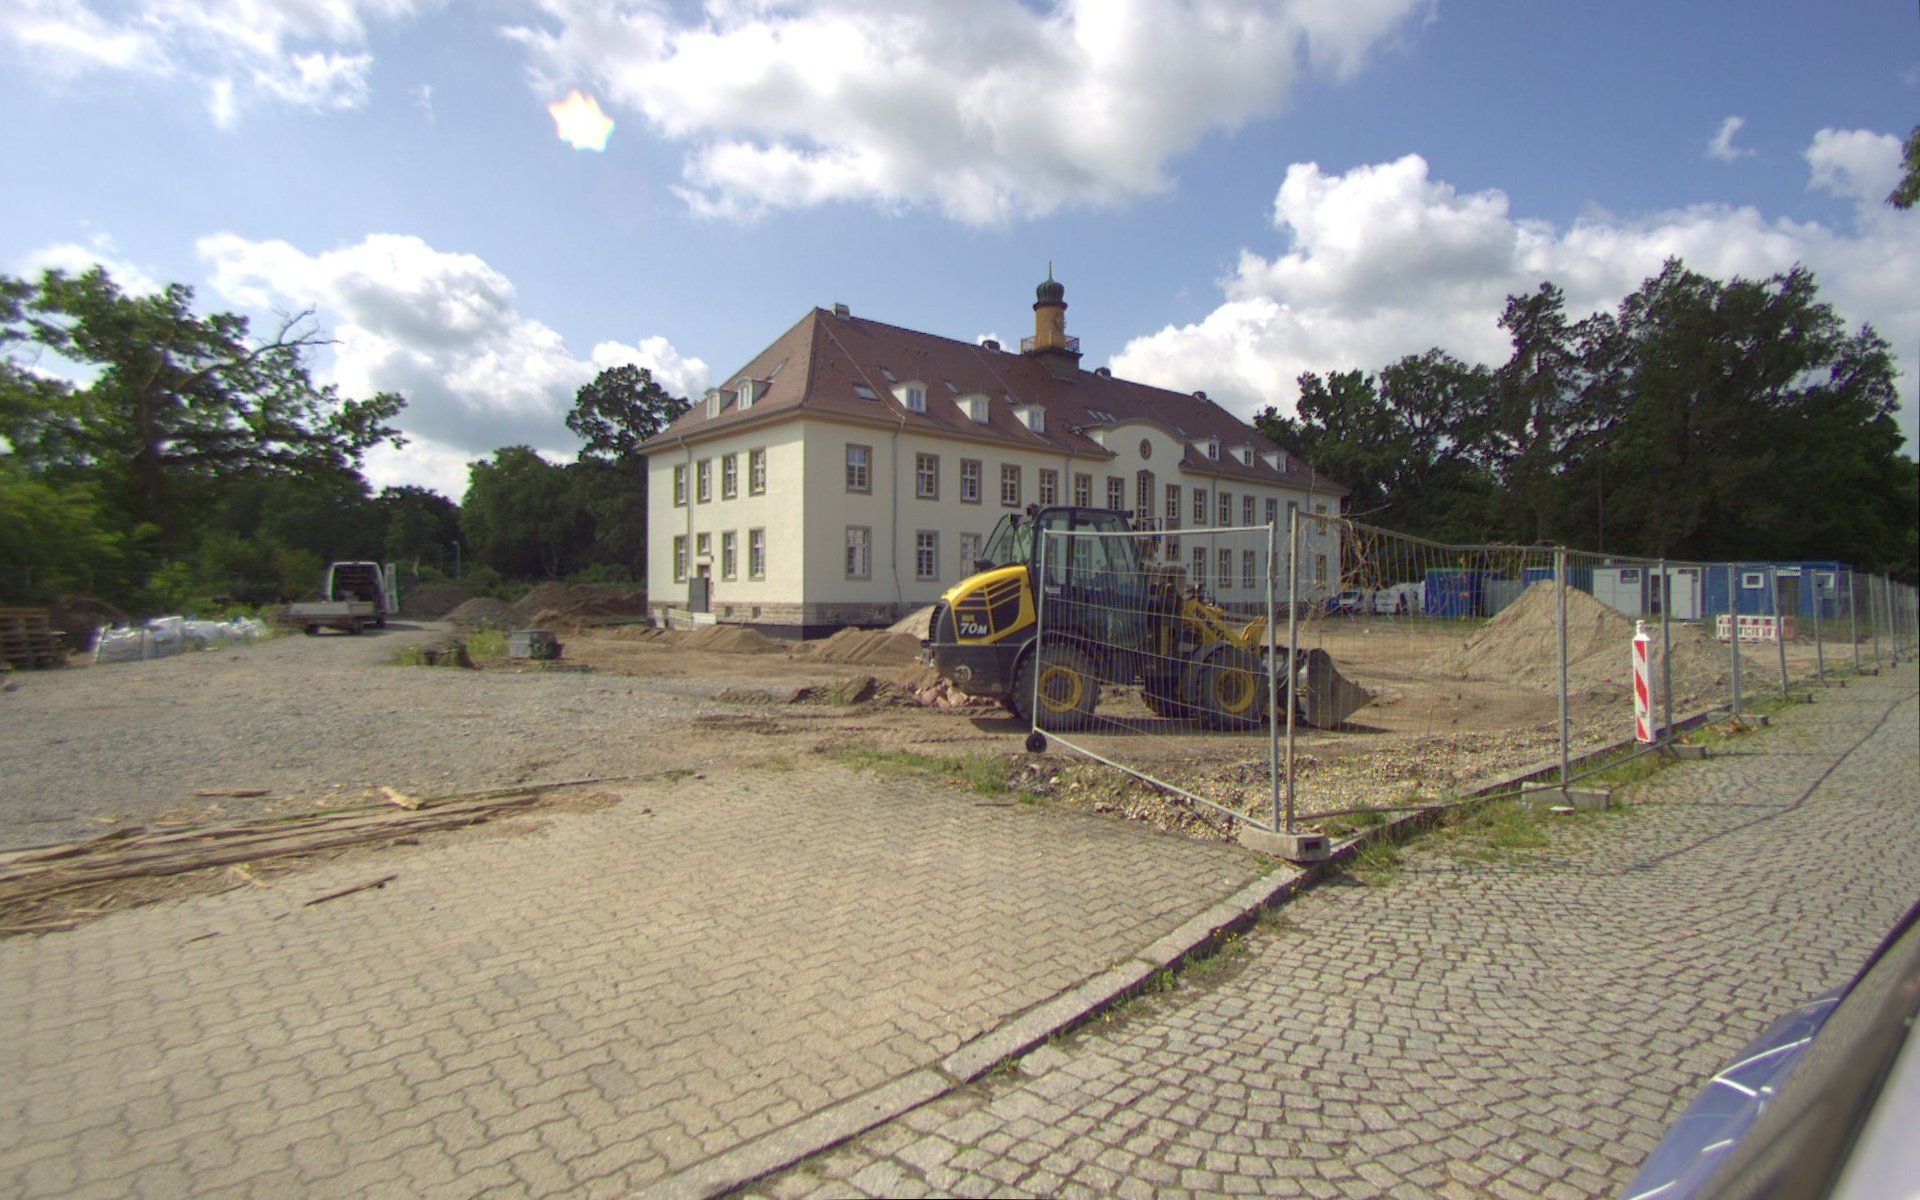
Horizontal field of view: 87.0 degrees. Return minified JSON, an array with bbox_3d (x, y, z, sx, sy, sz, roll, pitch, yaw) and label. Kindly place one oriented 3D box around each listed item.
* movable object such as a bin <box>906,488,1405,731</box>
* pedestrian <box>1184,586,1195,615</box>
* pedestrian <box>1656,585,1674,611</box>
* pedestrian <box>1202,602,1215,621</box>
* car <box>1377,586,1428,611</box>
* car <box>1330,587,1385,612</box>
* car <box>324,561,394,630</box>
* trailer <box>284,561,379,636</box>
[{"bbox_3d":[2.288,0.132,12.350,5.537,2.553,2.154,1,0,-13],"label":"movable object such as a bin"},{"bbox_3d":[14.014,0.031,61.812,0.496,1.810,0.492,0,-1,-19],"label":"pedestrian"},{"bbox_3d":[34.988,-0.090,50.258,0.671,1.259,0.601,0,-1,-43],"label":"pedestrian"},{"bbox_3d":[14.898,0.700,60.690,0.698,1.128,0.490,0,-1,-44],"label":"pedestrian"},{"bbox_3d":[31.248,-0.126,71.388,3.969,1.704,1.801,0,1,-41],"label":"car"},{"bbox_3d":[28.906,-0.057,73.536,4.626,1.750,1.883,0,1,-41],"label":"car"},{"bbox_3d":[-24.586,-0.206,41.285,2.204,2.624,5.440,0,1,-34],"label":"car"},{"bbox_3d":[-22.457,-0.068,36.331,1.920,2.504,4.855,0,0,-20],"label":"trailer"}]
